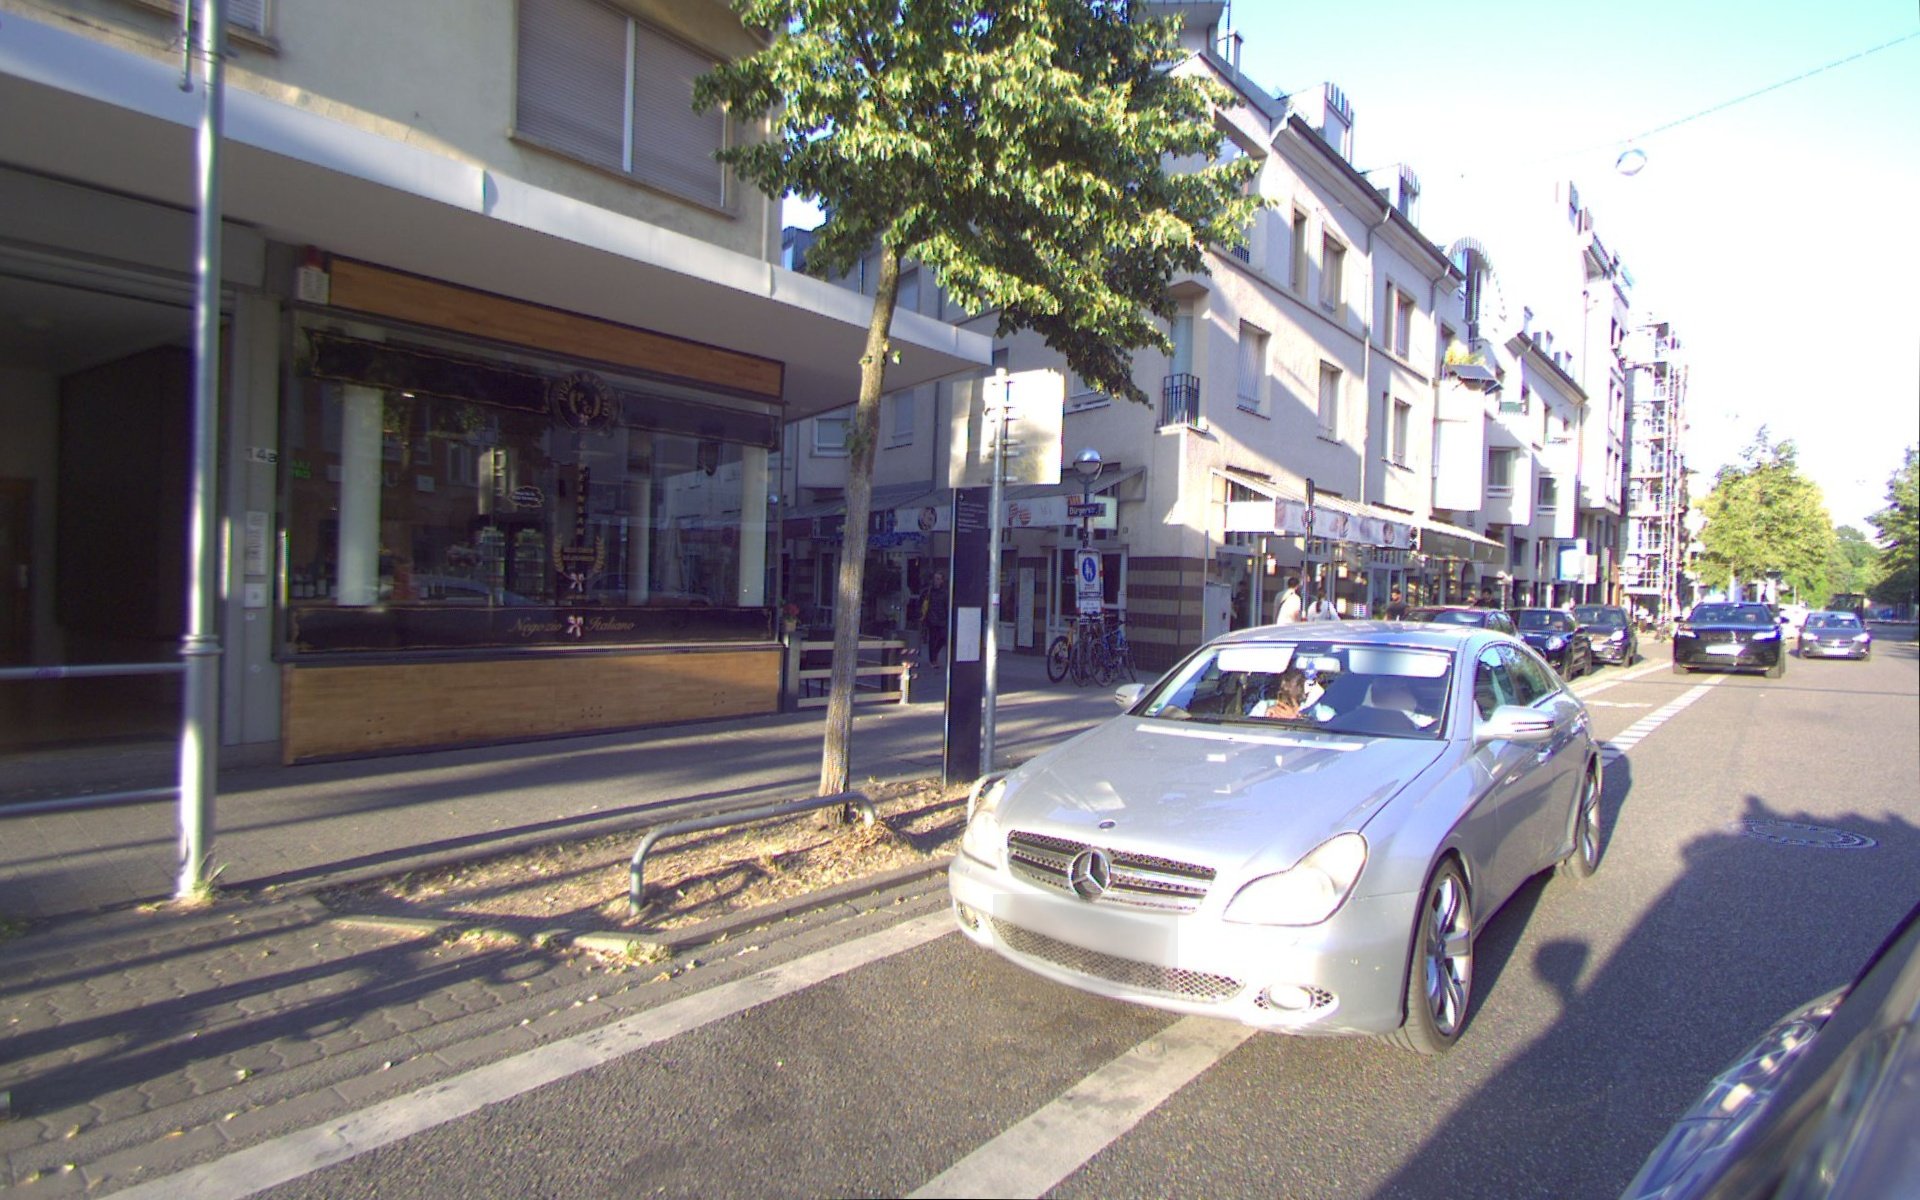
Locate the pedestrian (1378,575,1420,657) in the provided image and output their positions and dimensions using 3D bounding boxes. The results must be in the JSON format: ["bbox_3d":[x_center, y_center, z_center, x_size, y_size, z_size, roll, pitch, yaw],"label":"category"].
[{"bbox_3d":[9.756,0.353,22.497,0.629,1.771,0.660,3,2,41],"label":"pedestrian"}]

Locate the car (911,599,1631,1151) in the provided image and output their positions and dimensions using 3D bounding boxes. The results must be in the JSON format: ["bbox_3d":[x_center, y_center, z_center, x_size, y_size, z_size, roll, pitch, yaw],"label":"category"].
[{"bbox_3d":[1.943,0.712,4.959,1.740,1.418,4.572,0,0,40],"label":"car"}]

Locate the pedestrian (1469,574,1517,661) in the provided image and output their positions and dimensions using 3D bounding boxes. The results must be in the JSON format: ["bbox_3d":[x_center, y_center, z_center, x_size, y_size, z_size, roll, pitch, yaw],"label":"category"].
[{"bbox_3d":[11.975,0.400,22.724,0.776,1.907,0.660,-2,-2,41],"label":"pedestrian"}]

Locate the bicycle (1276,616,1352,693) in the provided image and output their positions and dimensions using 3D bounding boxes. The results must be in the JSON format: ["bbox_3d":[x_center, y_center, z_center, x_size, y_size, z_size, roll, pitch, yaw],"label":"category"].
[{"bbox_3d":[5.331,0.785,15.189,0.314,1.059,1.853,3,2,43],"label":"bicycle"}]

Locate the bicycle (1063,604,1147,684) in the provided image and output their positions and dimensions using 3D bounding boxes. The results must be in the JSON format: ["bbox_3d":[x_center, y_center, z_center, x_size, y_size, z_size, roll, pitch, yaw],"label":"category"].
[{"bbox_3d":[2.232,0.641,15.397,0.290,1.118,1.859,2,1,41],"label":"bicycle"}]

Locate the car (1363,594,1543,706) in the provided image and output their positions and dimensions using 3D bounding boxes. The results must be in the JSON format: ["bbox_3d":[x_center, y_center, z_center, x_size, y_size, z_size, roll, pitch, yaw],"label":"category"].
[{"bbox_3d":[7.767,0.687,15.775,1.587,1.451,3.868,4,2,40],"label":"car"}]

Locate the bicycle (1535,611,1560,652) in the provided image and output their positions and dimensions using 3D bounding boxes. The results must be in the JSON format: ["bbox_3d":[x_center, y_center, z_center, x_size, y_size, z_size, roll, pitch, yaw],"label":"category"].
[{"bbox_3d":[16.234,0.854,27.955,0.295,1.099,1.441,1,1,41],"label":"bicycle"}]

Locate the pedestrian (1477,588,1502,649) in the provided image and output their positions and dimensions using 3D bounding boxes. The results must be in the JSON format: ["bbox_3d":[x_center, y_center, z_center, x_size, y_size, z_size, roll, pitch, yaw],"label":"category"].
[{"bbox_3d":[16.030,0.563,30.630,0.574,1.823,0.443,0,0,42],"label":"pedestrian"}]

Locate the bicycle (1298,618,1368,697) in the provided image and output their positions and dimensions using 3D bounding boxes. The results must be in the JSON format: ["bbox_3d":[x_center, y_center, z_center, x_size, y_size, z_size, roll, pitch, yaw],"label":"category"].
[{"bbox_3d":[5.474,0.812,14.817,0.314,1.059,1.638,3,2,43],"label":"bicycle"}]

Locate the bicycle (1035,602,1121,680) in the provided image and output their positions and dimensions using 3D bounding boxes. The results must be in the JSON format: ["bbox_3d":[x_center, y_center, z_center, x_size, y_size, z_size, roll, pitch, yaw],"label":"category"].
[{"bbox_3d":[1.862,0.609,15.718,0.320,1.118,1.851,2,1,41],"label":"bicycle"}]

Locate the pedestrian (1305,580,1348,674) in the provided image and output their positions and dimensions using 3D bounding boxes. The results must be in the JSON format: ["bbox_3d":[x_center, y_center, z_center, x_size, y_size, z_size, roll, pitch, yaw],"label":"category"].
[{"bbox_3d":[6.575,0.473,18.146,0.519,1.612,0.402,5,3,41],"label":"pedestrian"}]

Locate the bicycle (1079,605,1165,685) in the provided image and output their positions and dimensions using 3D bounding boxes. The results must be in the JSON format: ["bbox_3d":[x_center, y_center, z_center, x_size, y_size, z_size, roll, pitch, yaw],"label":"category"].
[{"bbox_3d":[2.459,0.643,15.191,0.320,1.118,1.851,2,1,41],"label":"bicycle"}]

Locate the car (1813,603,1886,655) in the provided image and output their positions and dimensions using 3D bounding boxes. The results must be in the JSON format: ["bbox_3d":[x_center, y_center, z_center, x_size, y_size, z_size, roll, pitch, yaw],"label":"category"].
[{"bbox_3d":[27.648,0.859,31.530,1.616,1.492,3.634,0,0,41],"label":"car"}]

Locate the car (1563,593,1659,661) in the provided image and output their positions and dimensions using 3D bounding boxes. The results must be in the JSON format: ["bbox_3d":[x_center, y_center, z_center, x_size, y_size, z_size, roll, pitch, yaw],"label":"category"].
[{"bbox_3d":[17.228,0.654,26.711,1.615,1.612,3.868,2,1,40],"label":"car"}]

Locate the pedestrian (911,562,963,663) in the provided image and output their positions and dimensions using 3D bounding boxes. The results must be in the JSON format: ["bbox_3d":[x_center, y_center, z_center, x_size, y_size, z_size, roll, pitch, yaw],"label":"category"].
[{"bbox_3d":[-0.403,0.204,17.613,0.688,1.696,0.799,2,2,-13],"label":"pedestrian"}]

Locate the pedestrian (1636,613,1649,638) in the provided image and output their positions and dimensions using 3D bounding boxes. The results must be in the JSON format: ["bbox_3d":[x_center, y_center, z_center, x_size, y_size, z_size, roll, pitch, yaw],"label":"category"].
[{"bbox_3d":[36.266,1.348,53.769,0.490,1.279,0.415,0,0,42],"label":"pedestrian"}]

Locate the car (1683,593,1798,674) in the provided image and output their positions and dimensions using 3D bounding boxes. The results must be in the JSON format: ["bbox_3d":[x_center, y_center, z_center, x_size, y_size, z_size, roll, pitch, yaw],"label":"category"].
[{"bbox_3d":[17.942,0.694,23.192,1.884,1.656,4.165,0,0,41],"label":"car"}]

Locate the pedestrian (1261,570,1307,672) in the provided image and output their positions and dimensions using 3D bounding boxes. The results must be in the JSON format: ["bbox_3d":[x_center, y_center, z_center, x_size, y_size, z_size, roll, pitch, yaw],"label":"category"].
[{"bbox_3d":[5.858,0.364,18.298,0.543,1.779,0.495,5,3,41],"label":"pedestrian"}]

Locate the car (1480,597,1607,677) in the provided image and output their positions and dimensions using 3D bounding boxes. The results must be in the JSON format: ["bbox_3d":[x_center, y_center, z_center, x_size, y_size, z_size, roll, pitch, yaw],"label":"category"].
[{"bbox_3d":[12.240,0.709,21.111,1.615,1.452,3.868,3,2,40],"label":"car"}]
